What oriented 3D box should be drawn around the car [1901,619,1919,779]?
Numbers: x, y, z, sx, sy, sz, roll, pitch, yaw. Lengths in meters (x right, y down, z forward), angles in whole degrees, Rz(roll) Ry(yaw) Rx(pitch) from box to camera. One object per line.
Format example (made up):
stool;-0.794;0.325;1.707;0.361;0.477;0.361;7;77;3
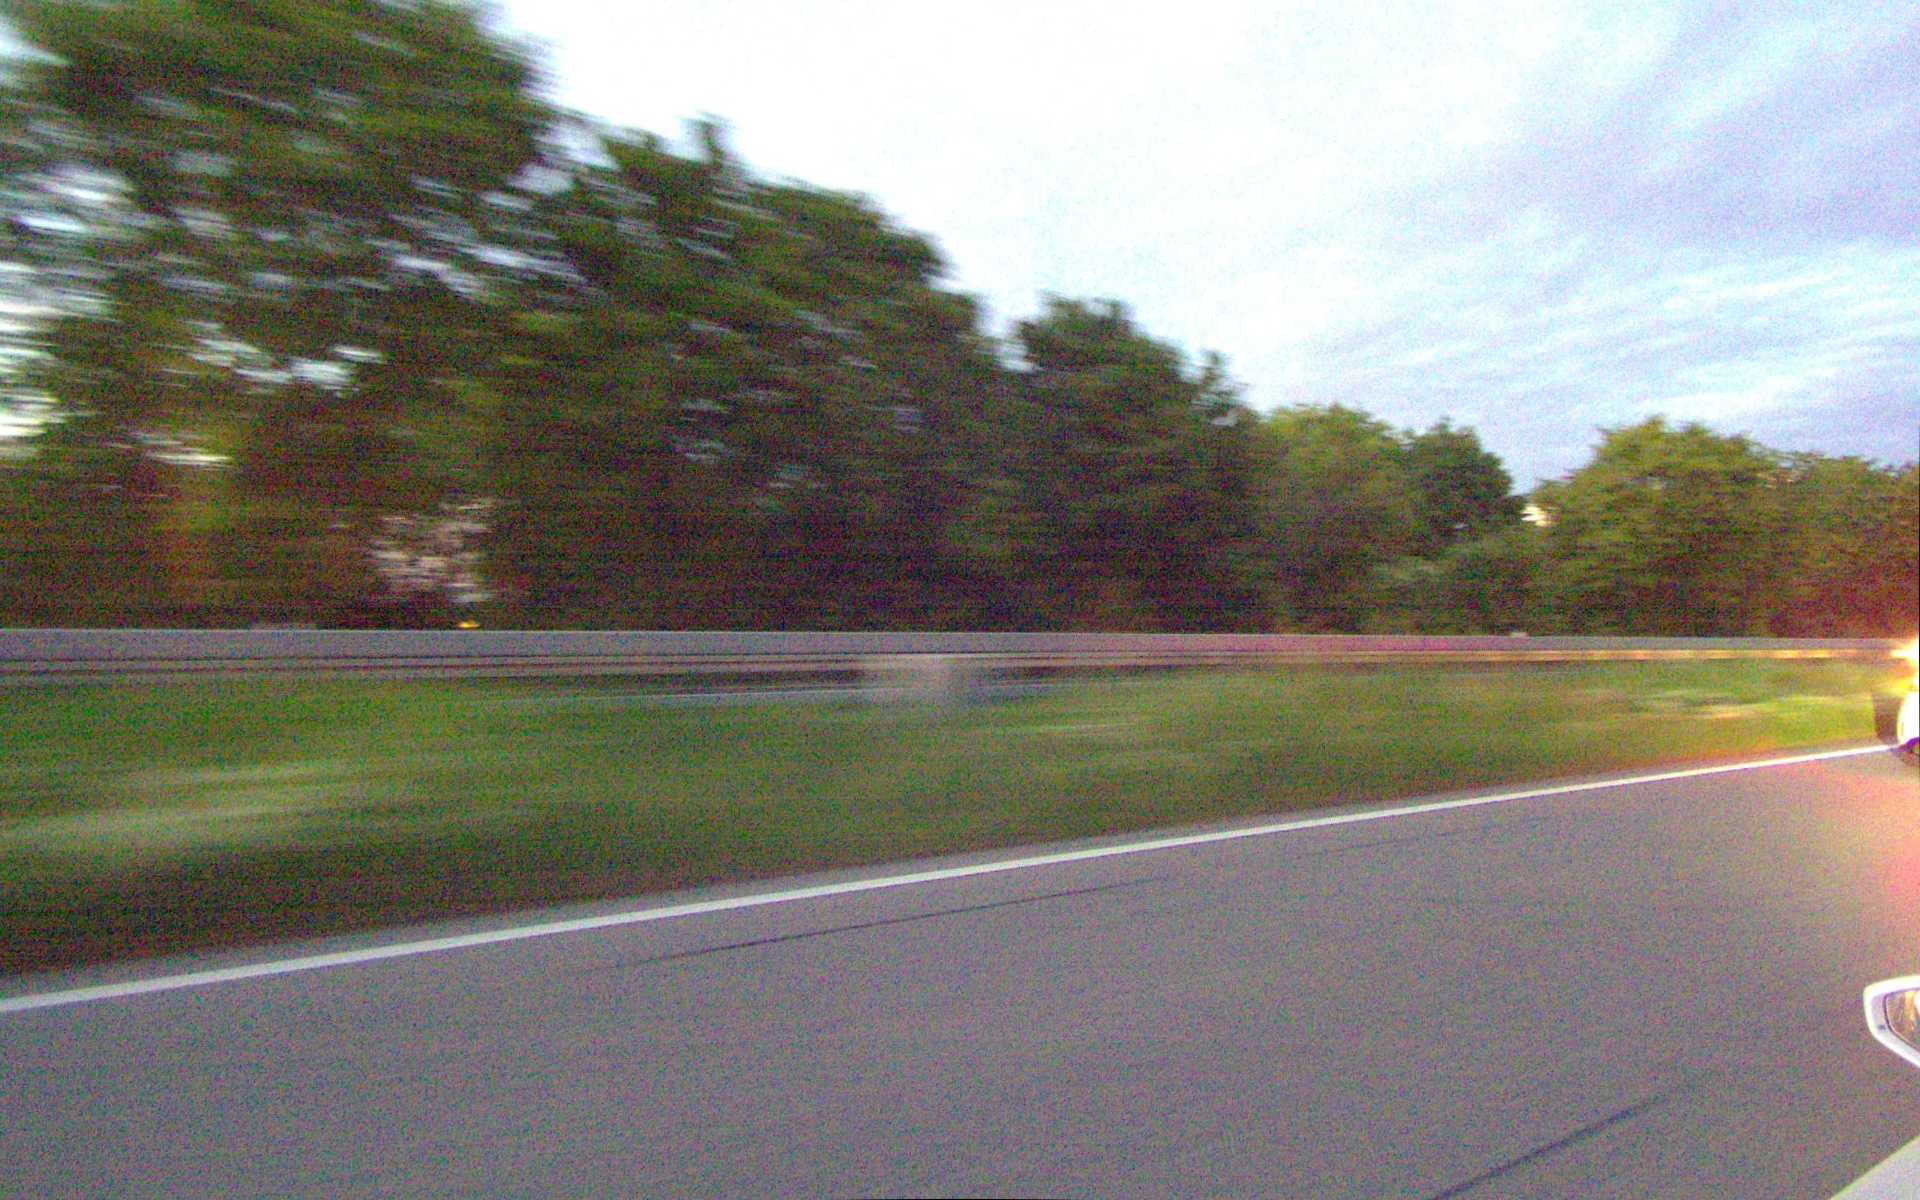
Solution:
car;11.401;1.005;10.087;4.526;1.510;1.634;2;0;-31
